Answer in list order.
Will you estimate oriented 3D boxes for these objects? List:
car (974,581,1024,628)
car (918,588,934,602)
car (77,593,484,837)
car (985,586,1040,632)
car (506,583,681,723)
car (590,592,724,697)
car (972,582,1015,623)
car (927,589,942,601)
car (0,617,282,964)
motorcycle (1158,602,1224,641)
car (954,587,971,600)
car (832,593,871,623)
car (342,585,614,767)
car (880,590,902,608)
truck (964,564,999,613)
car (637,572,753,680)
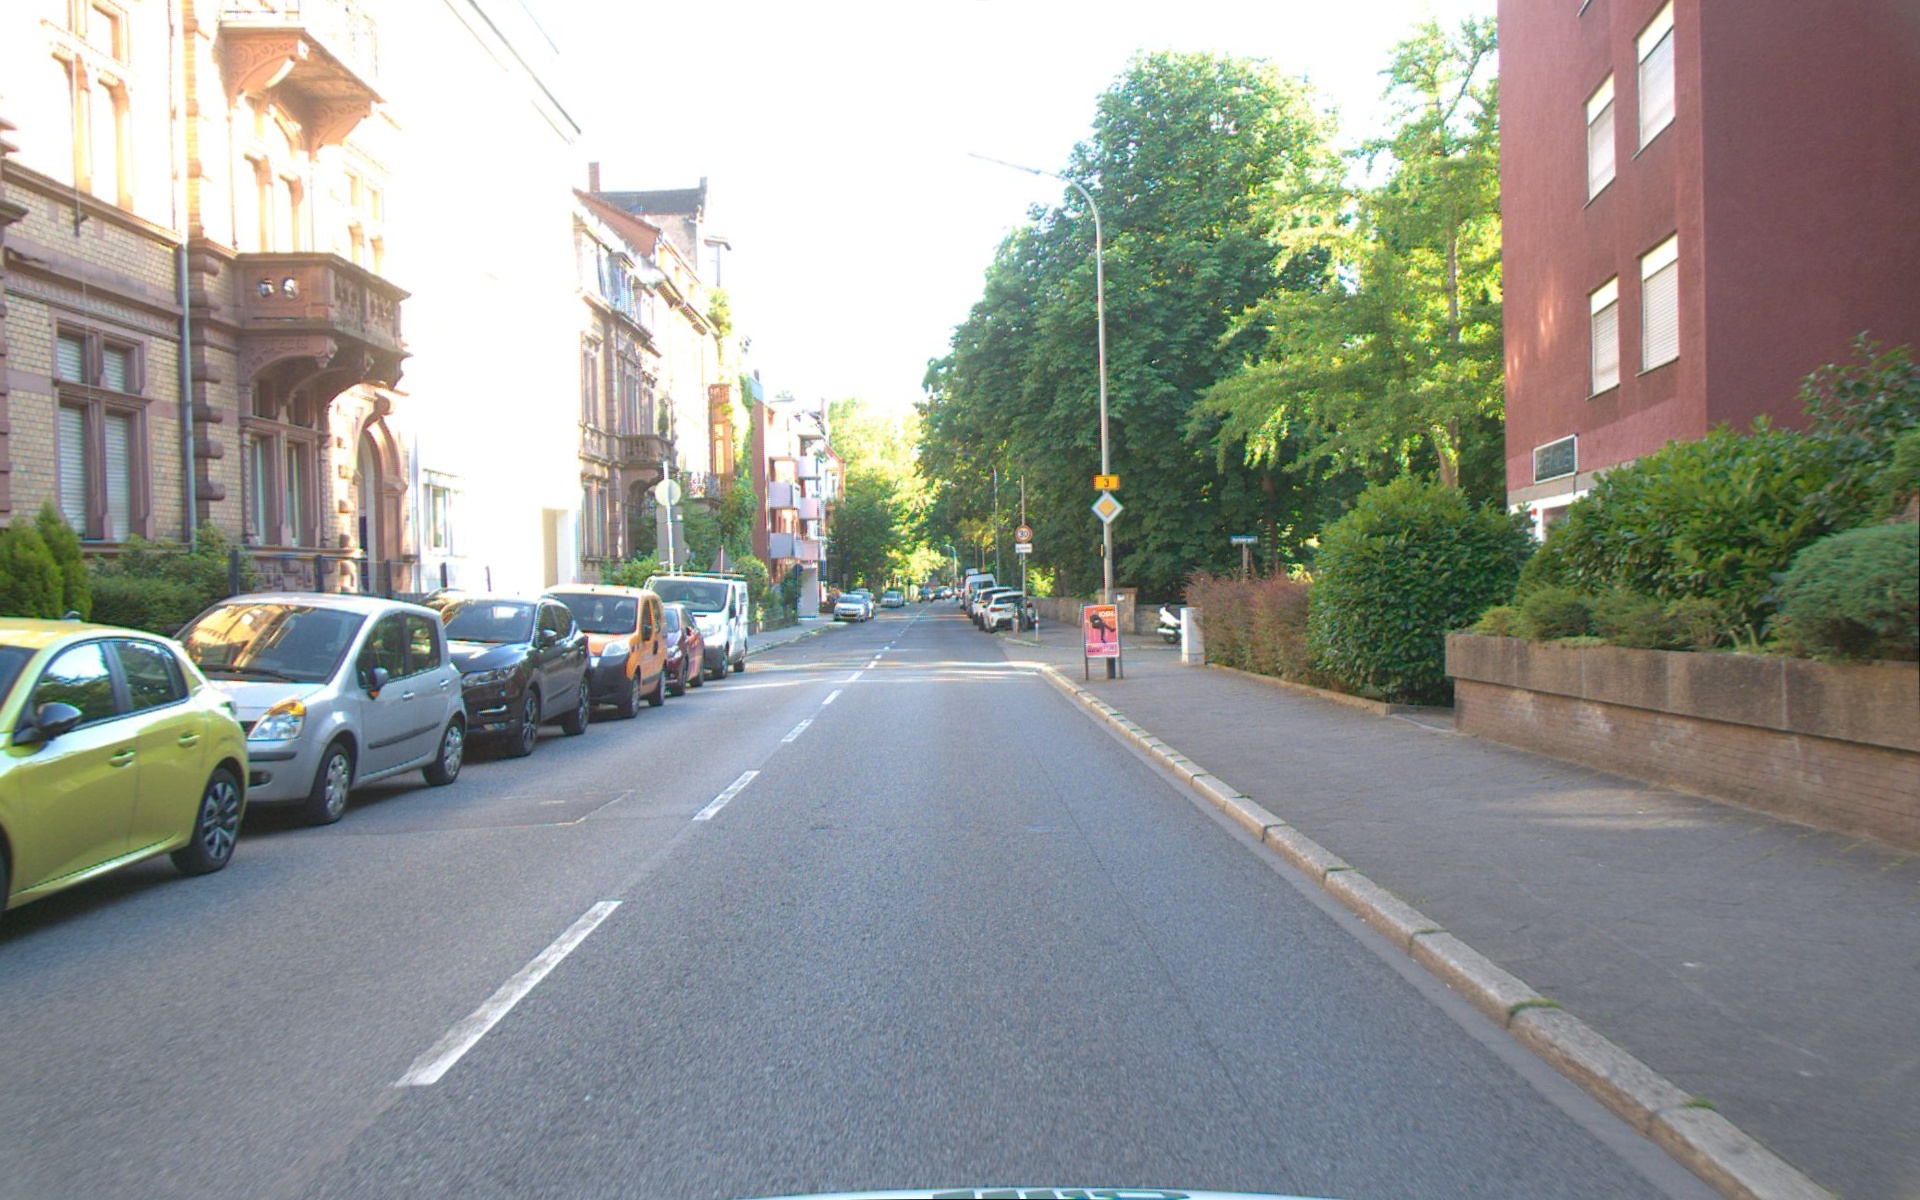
[{"bbox_3d":[1.581,0.173,68.519,1.952,1.767,4.001,-2,1,1],"label":"car"},{"bbox_3d":[-4.181,-0.656,203.640,1.953,1.517,4.470,-2,1,-1],"label":"car"},{"bbox_3d":[-5.092,0.767,12.941,1.667,1.611,3.635,0,1,0],"label":"car"},{"bbox_3d":[1.955,0.301,62.935,1.952,1.544,4.001,-2,1,1],"label":"car"},{"bbox_3d":[-4.983,0.656,22.938,1.668,1.769,3.856,0,1,-2],"label":"car"},{"bbox_3d":[-5.125,0.701,28.427,1.668,1.648,4.116,0,1,-2],"label":"car"},{"bbox_3d":[1.583,0.084,79.197,1.952,1.767,4.001,-2,1,1],"label":"car"},{"bbox_3d":[-3.594,-0.770,232.924,1.953,1.517,4.470,-2,1,-1],"label":"car"},{"bbox_3d":[-5.074,0.857,8.287,1.667,1.529,4.072,0,-1,0],"label":"car"},{"bbox_3d":[6.794,0.629,48.678,1.866,1.131,0.790,0,1,2],"label":"motorcycle"},{"bbox_3d":[0.320,-0.858,222.178,1.954,1.517,4.467,-2,1,-4],"label":"car"},{"bbox_3d":[-6.172,0.414,94.824,1.953,1.517,4.470,-2,1,-1],"label":"car"},{"bbox_3d":[-5.101,0.709,18.137,1.667,1.737,4.440,0,1,0],"label":"car"},{"bbox_3d":[-6.723,-0.105,161.896,1.953,1.517,4.470,-2,1,-1],"label":"car"},{"bbox_3d":[1.335,-0.766,104.027,1.953,2.947,4.470,-2,1,-1],"label":"truck"},{"bbox_3d":[-5.333,0.460,33.811,1.757,2.045,4.696,0,1,-2],"label":"car"}]
